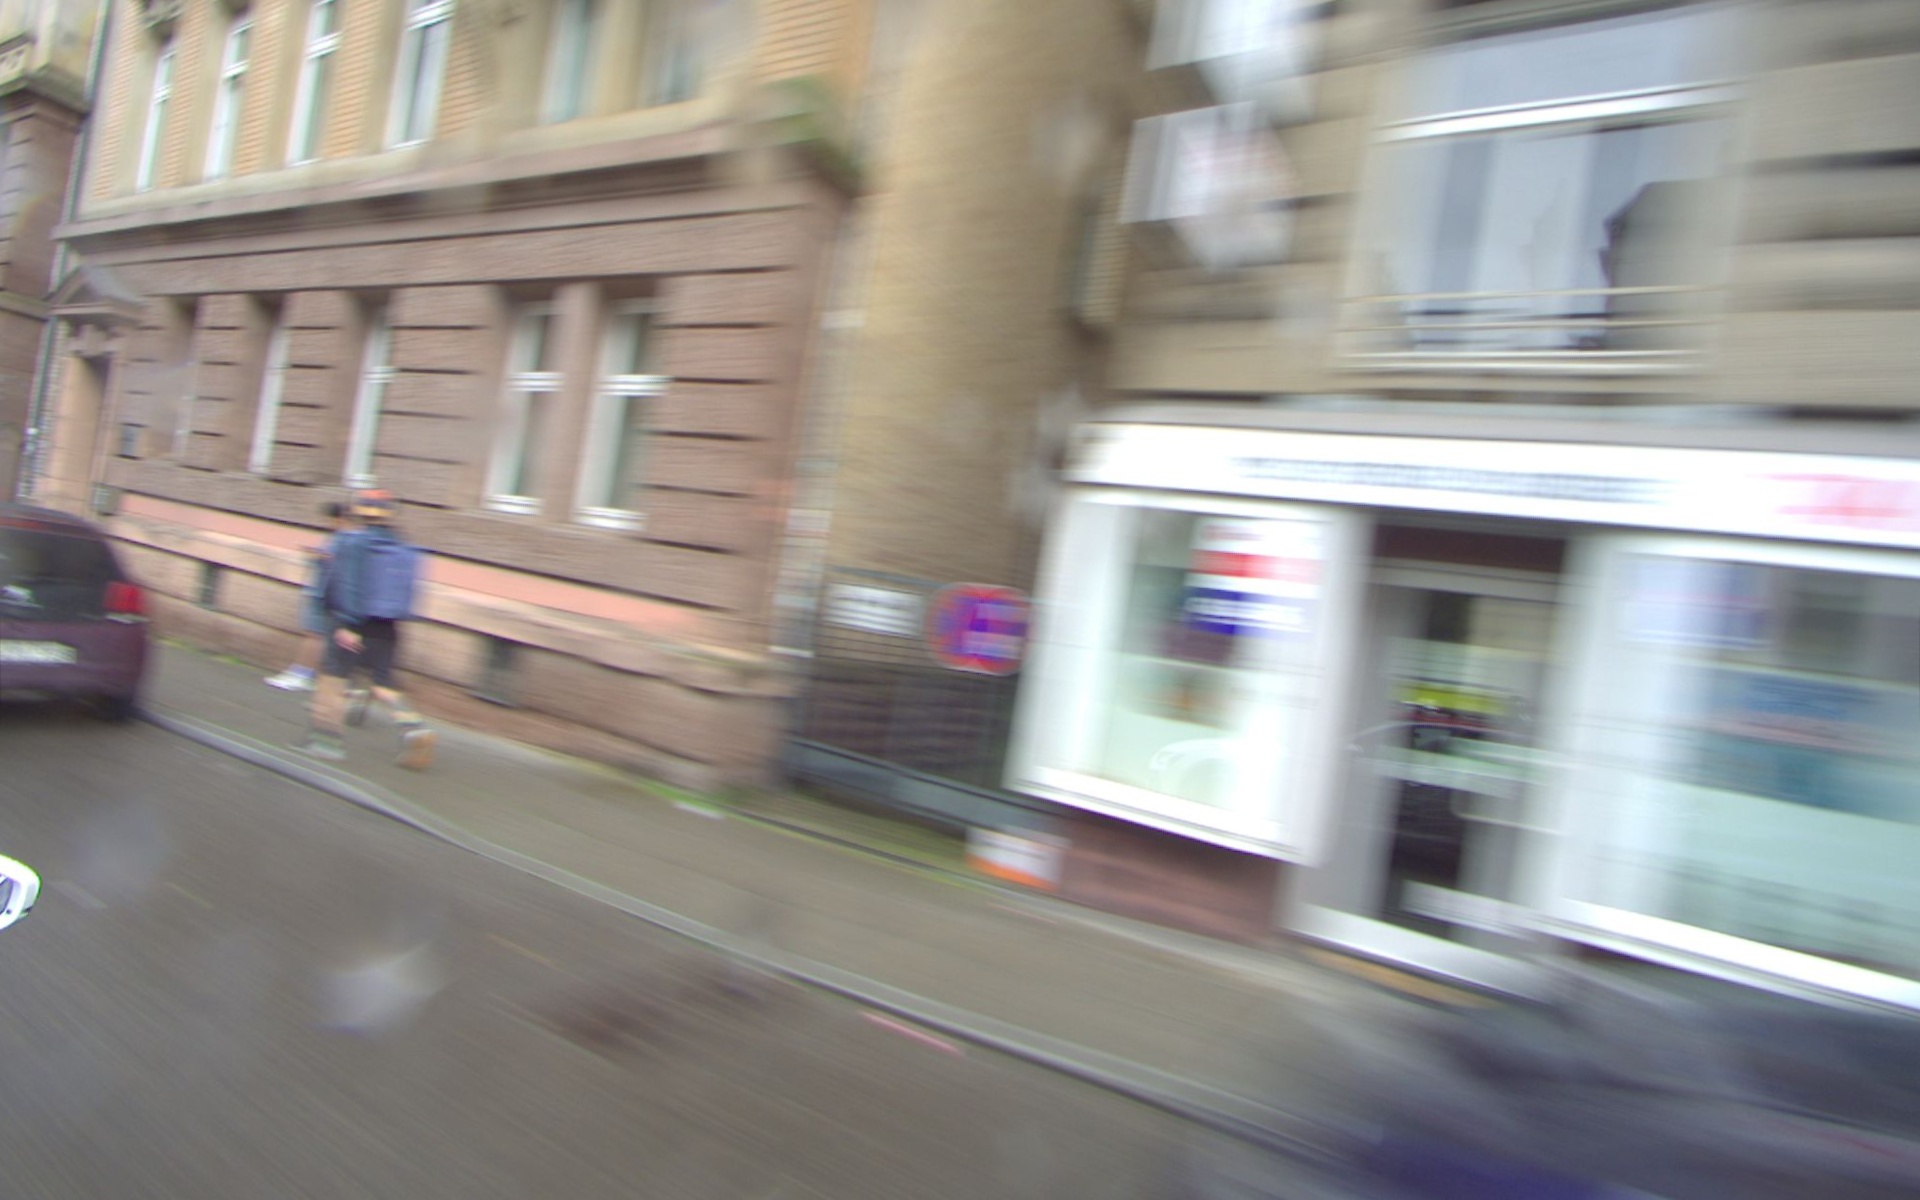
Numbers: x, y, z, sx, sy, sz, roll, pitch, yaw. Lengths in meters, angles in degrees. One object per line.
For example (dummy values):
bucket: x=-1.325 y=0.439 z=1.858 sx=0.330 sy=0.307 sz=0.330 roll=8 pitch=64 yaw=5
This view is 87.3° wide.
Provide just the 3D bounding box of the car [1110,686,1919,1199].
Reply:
car: x=2.427 y=1.085 z=1.050 sx=4.185 sy=1.424 sz=1.794 roll=6 pitch=0 yaw=30

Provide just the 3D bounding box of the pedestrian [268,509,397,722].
pedestrian: x=-4.990 y=0.118 z=7.999 sx=0.666 sy=1.599 sz=0.520 roll=5 pitch=1 yaw=31

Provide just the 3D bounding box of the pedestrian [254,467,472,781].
pedestrian: x=-3.901 y=0.139 z=6.579 sx=0.945 sy=1.842 sz=0.704 roll=9 pitch=2 yaw=31

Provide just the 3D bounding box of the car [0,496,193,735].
car: x=-7.330 y=-0.053 z=7.240 sx=3.418 sy=1.476 sz=1.653 roll=7 pitch=-2 yaw=32
